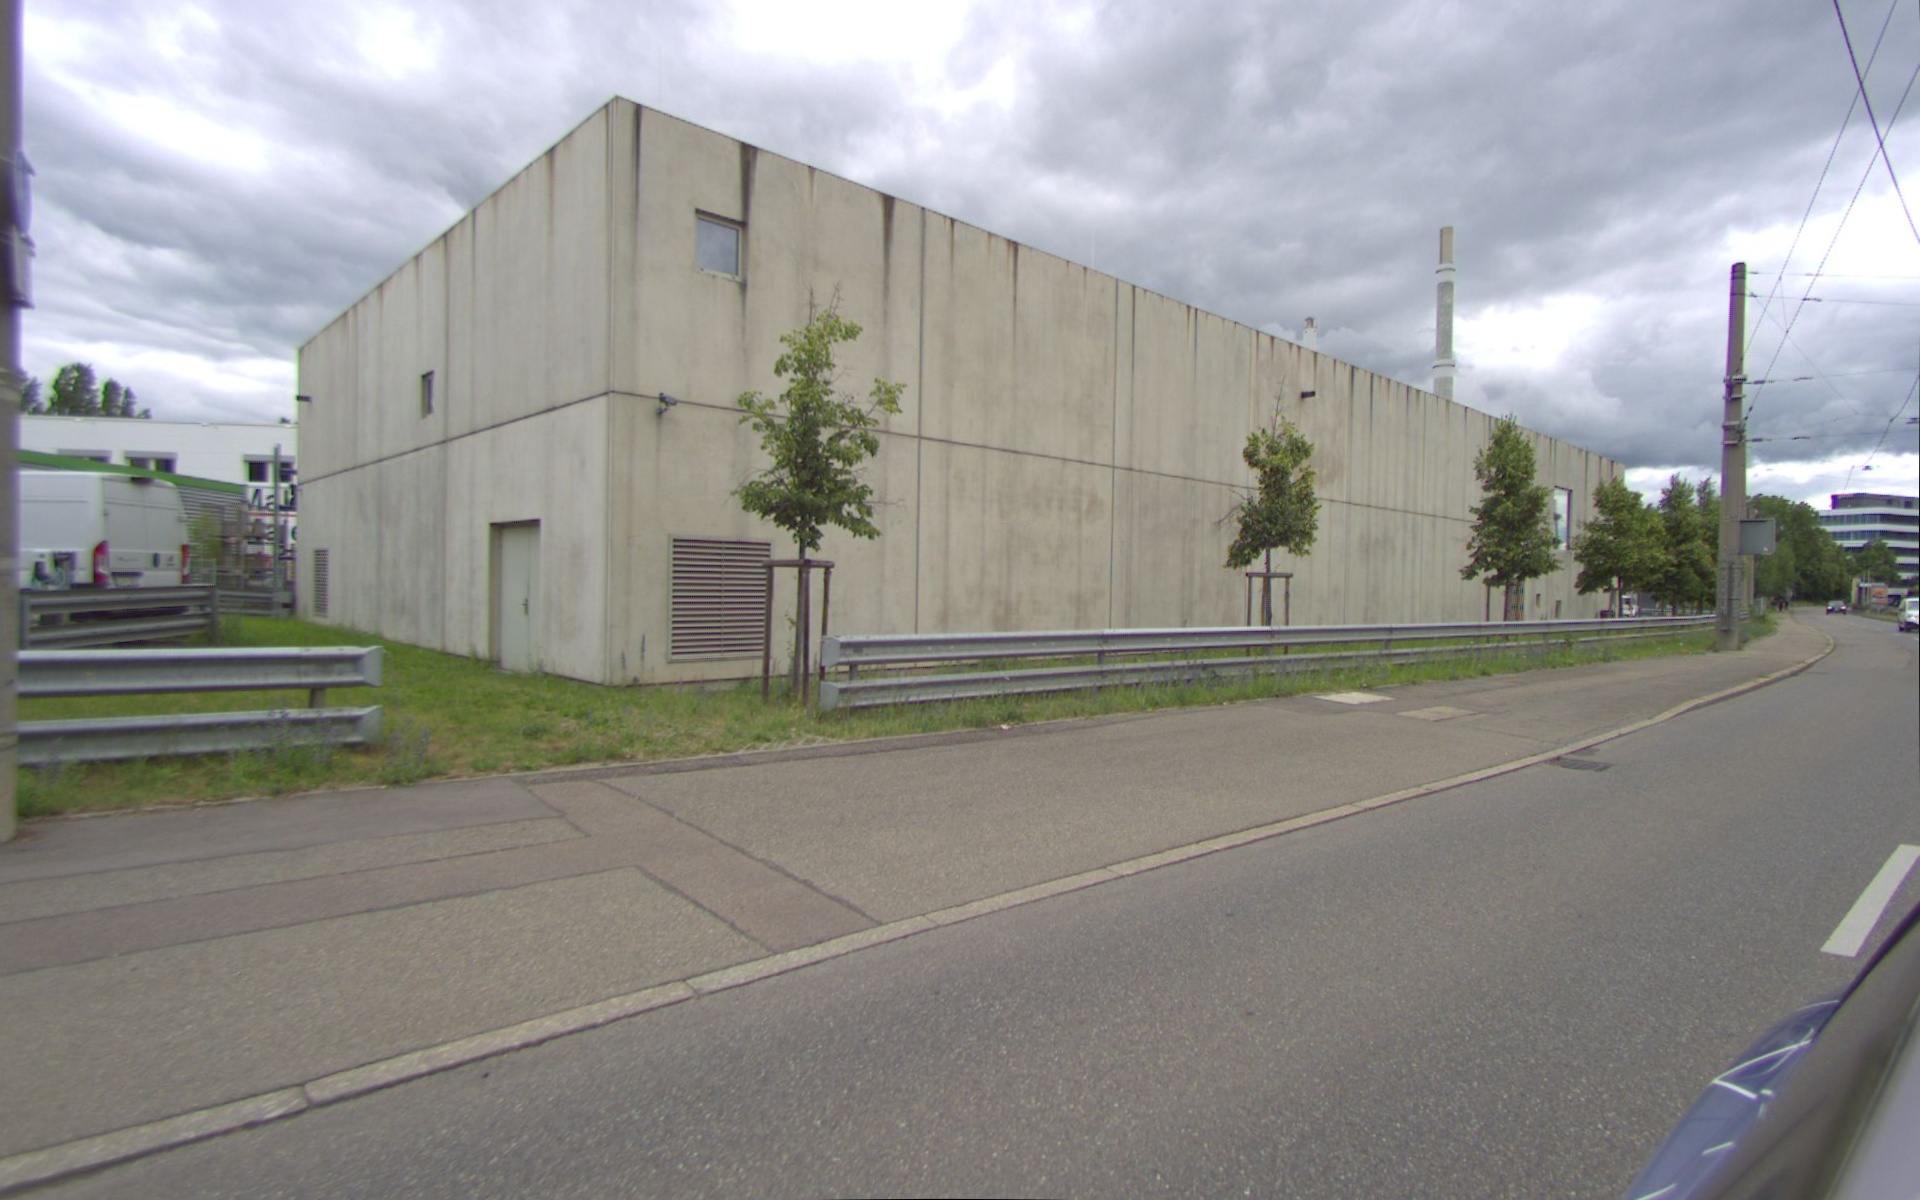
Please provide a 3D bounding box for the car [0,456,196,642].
[{"bbox_3d":[-15.050,-0.777,15.233,5.313,2.622,2.099,1,1,-7],"label":"car"}]

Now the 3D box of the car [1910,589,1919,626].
[{"bbox_3d":[51.749,0.430,53.367,1.990,1.916,4.562,2,1,38],"label":"car"}]

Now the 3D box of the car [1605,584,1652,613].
[{"bbox_3d":[38.483,-0.050,58.234,1.747,1.594,4.365,-1,-1,40],"label":"car"}]

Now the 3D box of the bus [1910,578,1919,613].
[{"bbox_3d":[110.261,-0.432,112.796,3.527,4.002,10.396,-1,1,27],"label":"bus"}]

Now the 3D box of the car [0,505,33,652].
[{"bbox_3d":[-14.229,-0.292,12.111,4.350,1.855,1.821,1,1,-8],"label":"car"}]
